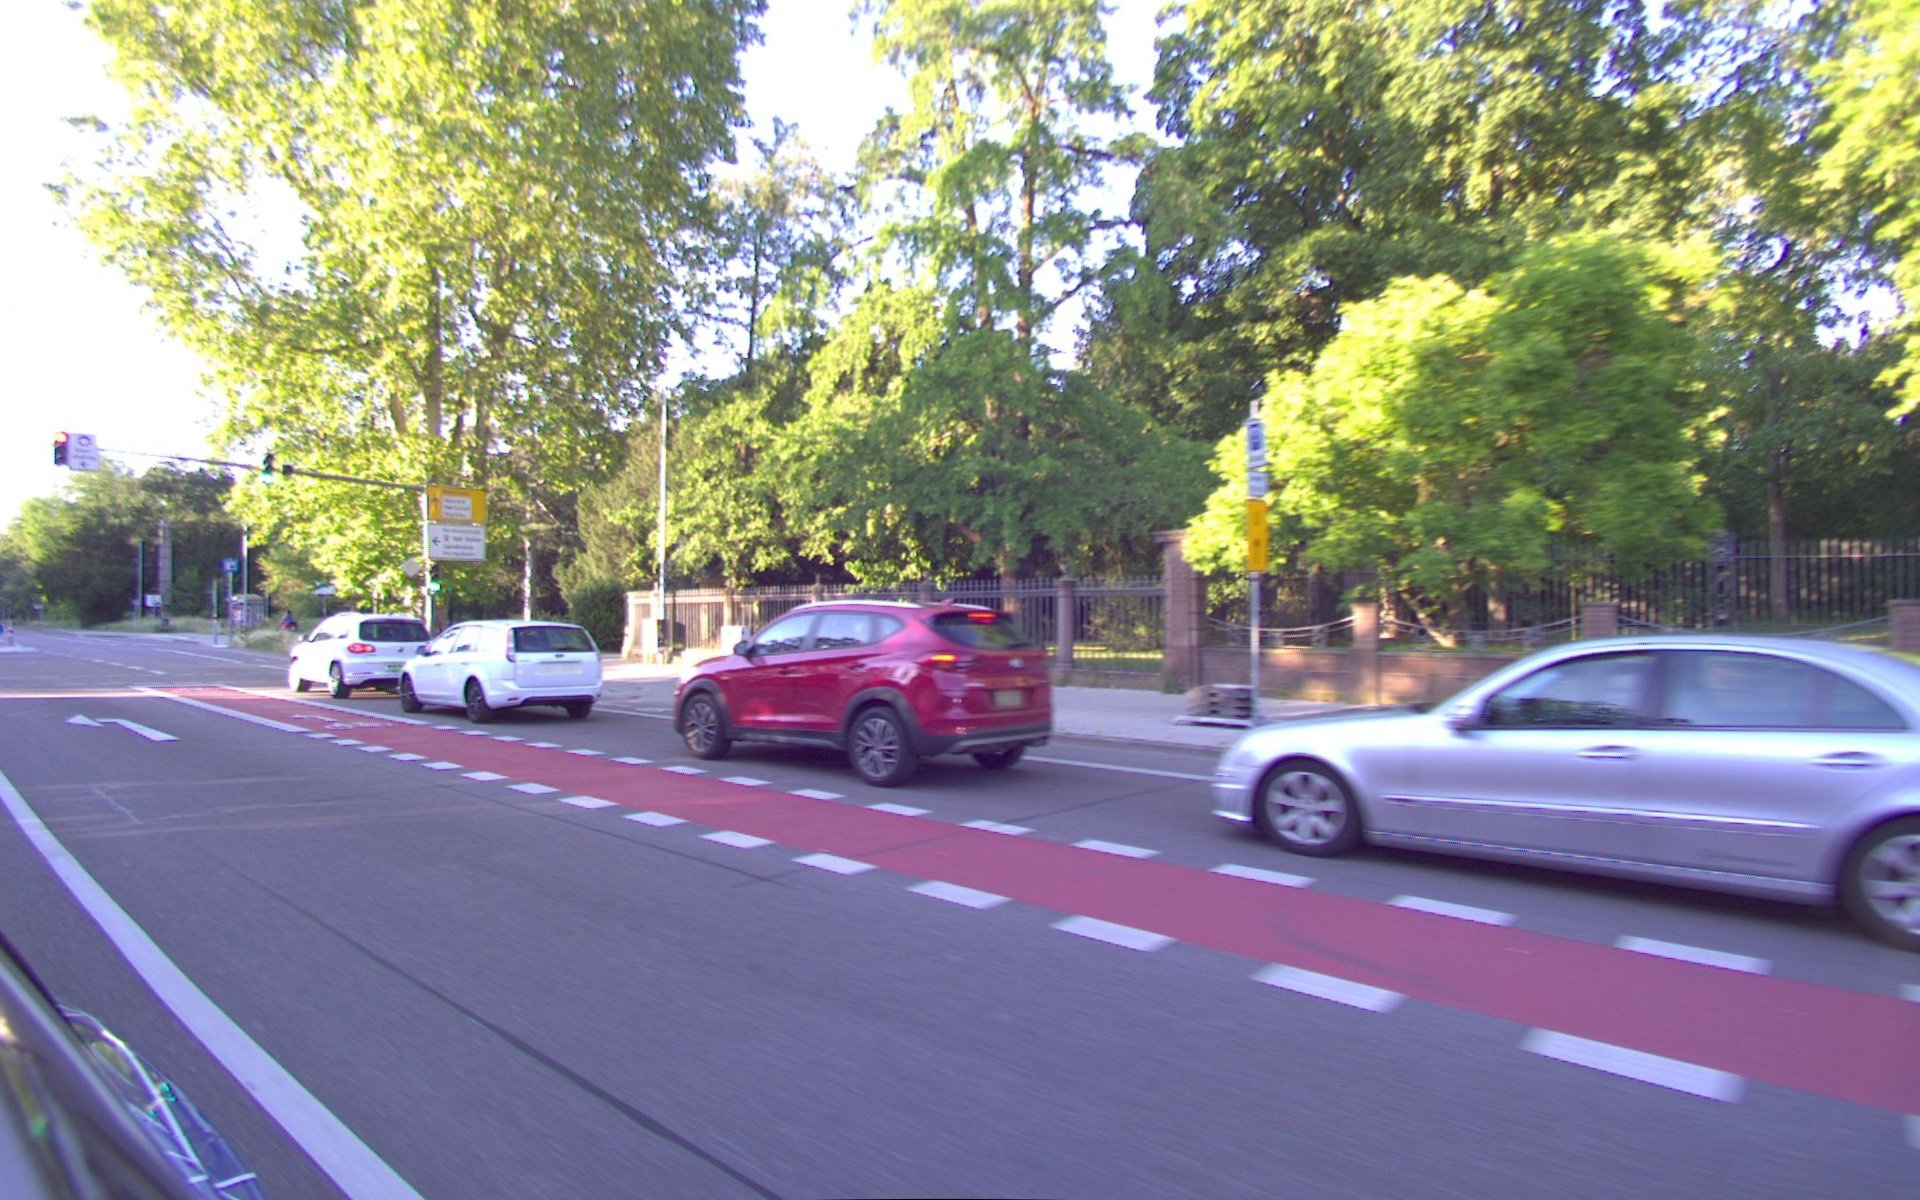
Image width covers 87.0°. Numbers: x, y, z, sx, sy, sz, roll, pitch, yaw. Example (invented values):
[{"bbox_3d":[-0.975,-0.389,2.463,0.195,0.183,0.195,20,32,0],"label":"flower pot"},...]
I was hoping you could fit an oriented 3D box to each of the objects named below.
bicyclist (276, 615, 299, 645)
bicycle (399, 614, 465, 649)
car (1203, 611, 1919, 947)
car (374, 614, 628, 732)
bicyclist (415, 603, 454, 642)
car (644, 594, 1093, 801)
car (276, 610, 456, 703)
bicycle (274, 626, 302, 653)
[{"bbox_3d":[-32.557,1.439,49.012,0.780,1.438,0.892,0,-1,-45],"label":"bicyclist"},{"bbox_3d":[-22.023,1.309,42.221,2.169,1.022,0.858,11,1,0],"label":"bicycle"},{"bbox_3d":[3.974,0.810,5.685,4.768,1.428,1.896,-1,-3,42],"label":"car"},{"bbox_3d":[-7.324,1.052,15.926,4.672,1.595,1.896,-1,-3,42],"label":"car"},{"bbox_3d":[-21.913,0.942,42.202,0.931,1.441,0.858,11,1,-1],"label":"bicyclist"},{"bbox_3d":[-1.108,0.842,10.280,4.637,1.637,1.896,-1,-3,42],"label":"car"},{"bbox_3d":[-12.276,1.100,20.793,4.425,1.708,1.896,-1,-3,42],"label":"car"},{"bbox_3d":[-32.569,1.897,49.022,0.780,1.266,1.981,0,-1,-45],"label":"bicycle"}]
